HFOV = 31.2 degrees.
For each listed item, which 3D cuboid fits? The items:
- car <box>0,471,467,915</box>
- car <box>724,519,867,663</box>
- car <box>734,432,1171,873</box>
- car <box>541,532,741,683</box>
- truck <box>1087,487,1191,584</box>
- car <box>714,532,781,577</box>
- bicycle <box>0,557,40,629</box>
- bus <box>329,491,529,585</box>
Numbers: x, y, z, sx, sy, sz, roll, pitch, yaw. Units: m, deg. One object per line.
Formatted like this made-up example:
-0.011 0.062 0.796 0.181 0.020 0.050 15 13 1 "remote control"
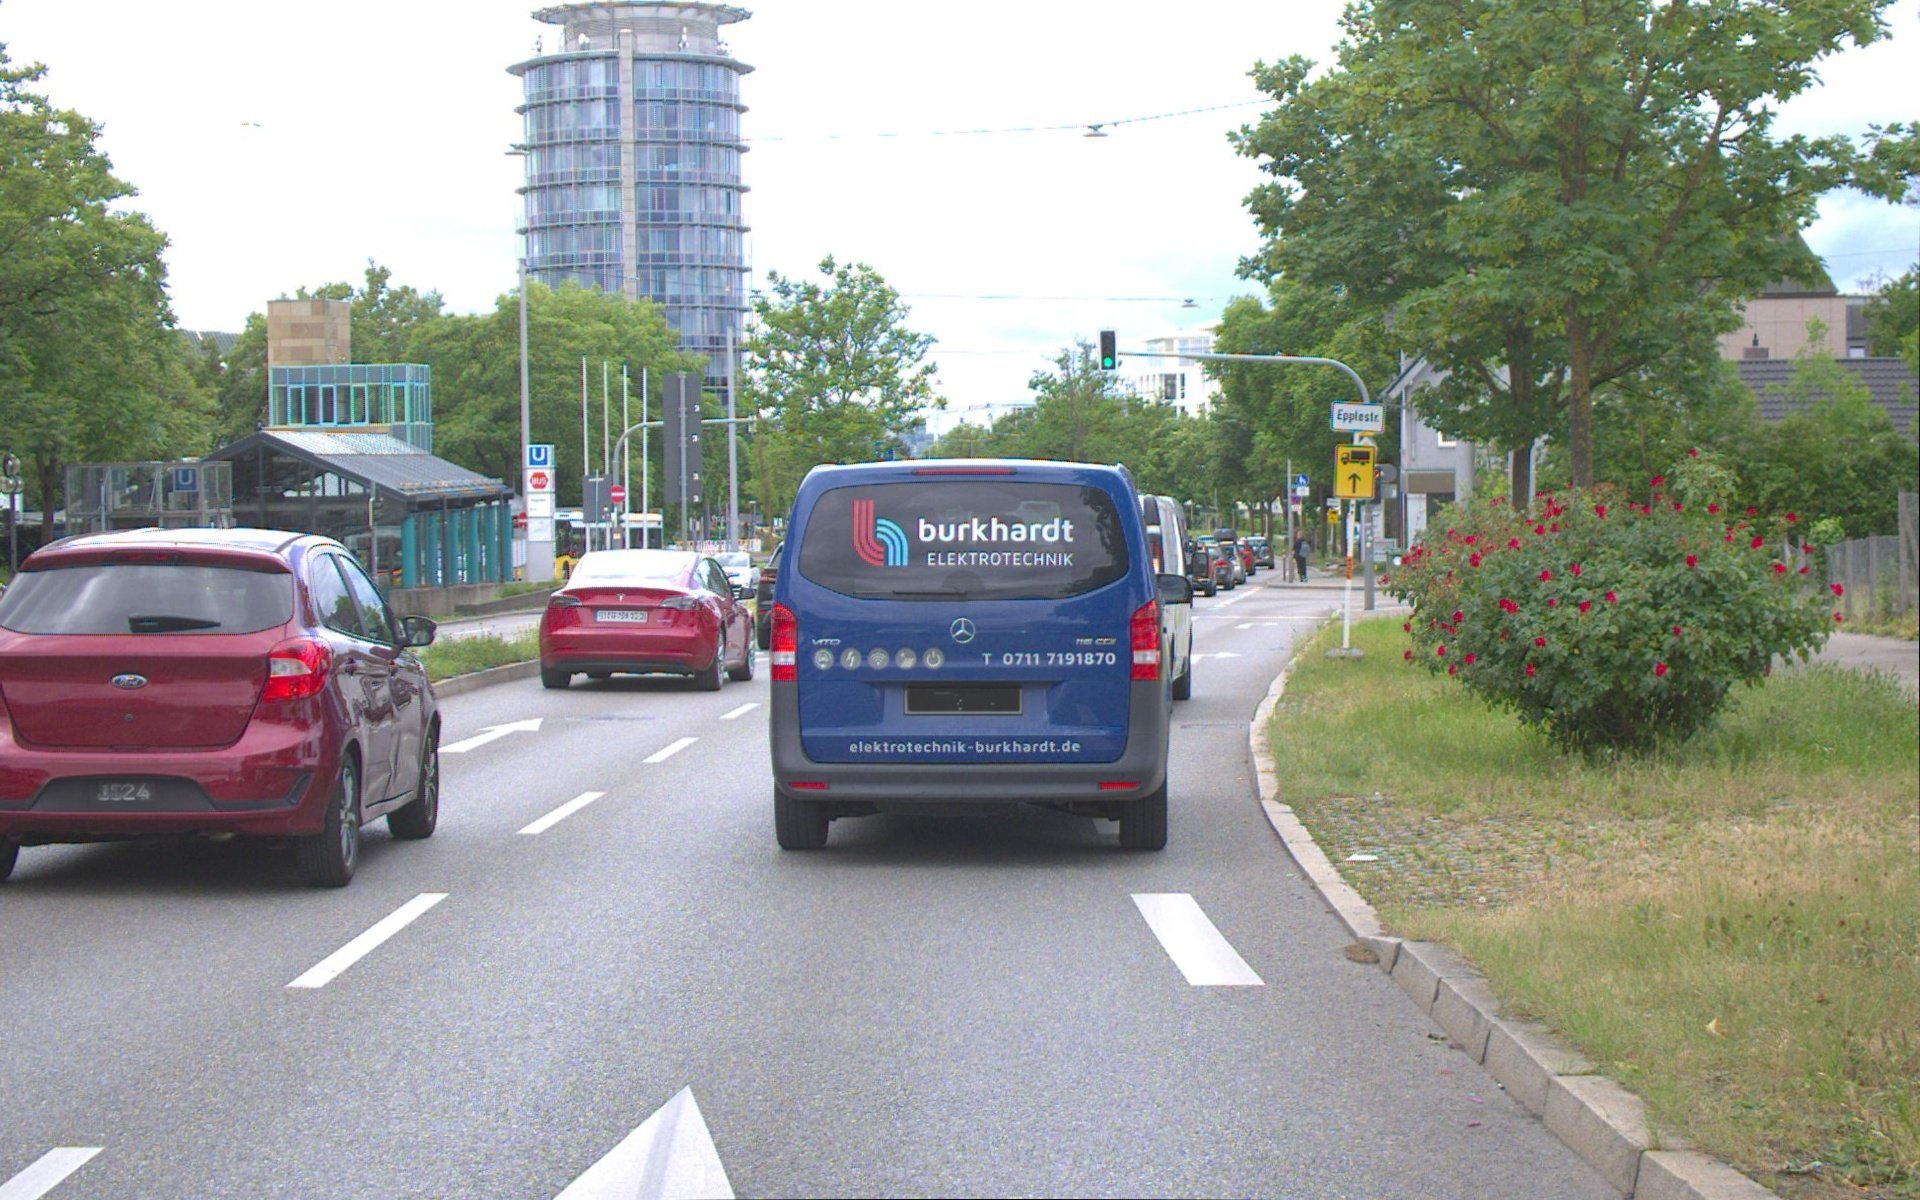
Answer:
-3.440 0.334 15.761 1.746 1.717 4.000 3 1 0 "car"
-2.387 -0.133 50.545 1.993 2.007 4.000 1 0 -2 "car"
0.069 0.196 17.625 1.948 1.959 4.541 0 1 3 "car"
-3.308 0.051 36.315 1.868 1.481 4.000 -1 1 -2 "car"
4.229 -1.506 80.445 1.994 2.158 5.558 2 1 7 "truck"
-7.607 -1.643 123.165 1.624 1.568 3.999 -1 1 8 "car"
-17.783 -0.133 63.056 1.052 1.266 2.425 1 1 3 "bicycle"
-18.597 -2.160 121.484 2.958 3.122 12.154 0 1 11 "bus"
